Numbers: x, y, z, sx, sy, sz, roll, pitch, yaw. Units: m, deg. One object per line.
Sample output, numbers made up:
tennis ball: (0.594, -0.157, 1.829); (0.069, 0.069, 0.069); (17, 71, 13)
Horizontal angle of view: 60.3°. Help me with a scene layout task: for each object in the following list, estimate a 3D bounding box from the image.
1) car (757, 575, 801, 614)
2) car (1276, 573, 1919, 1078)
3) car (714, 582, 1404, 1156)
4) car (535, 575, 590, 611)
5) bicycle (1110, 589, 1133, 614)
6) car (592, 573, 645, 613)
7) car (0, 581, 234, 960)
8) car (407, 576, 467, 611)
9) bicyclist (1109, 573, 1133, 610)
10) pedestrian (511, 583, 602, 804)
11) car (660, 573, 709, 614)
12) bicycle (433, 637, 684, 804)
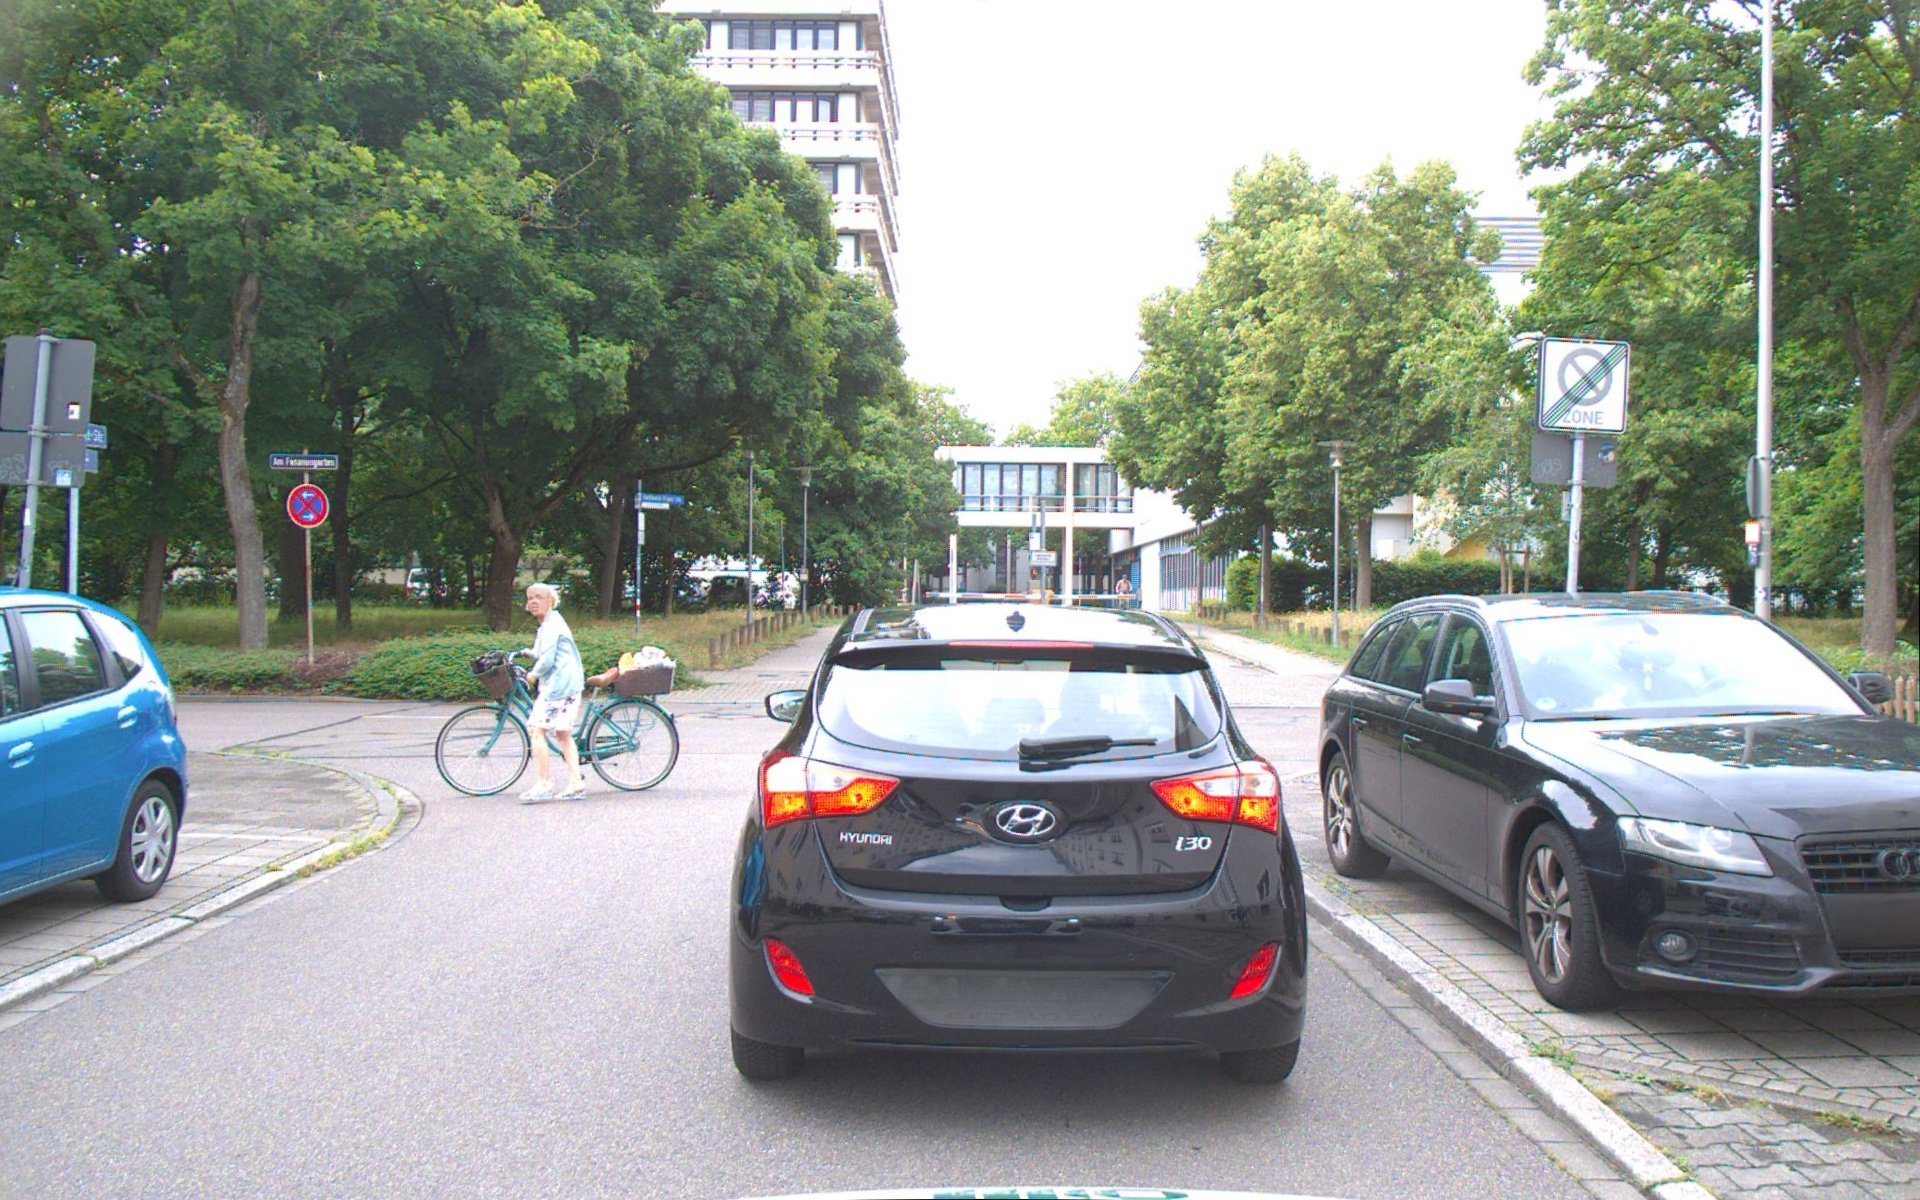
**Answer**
car: (-8.610, -0.228, 78.958); (1.954, 1.792, 3.996); (0, -1, -5)
car: (2.868, 0.643, 7.313); (1.823, 1.488, 4.723); (-1, 0, -3)
car: (0.175, 0.707, 6.259); (1.809, 1.488, 3.825); (1, 0, -3)
car: (-18.817, -0.344, 78.480); (1.954, 1.646, 3.996); (0, 0, -5)
bicycle: (7.348, 0.077, 75.272); (0.849, 1.093, 2.142); (0, 1, 0)
car: (-16.150, -0.316, 78.452); (1.954, 1.758, 3.996); (0, -1, -5)
car: (-4.711, 0.676, 6.832); (1.695, 1.488, 3.956); (3, 0, -1)
car: (-24.903, -0.313, 78.914); (1.880, 1.646, 3.996); (0, 0, -5)
bicyclist: (7.323, -0.377, 75.342); (0.996, 1.673, 0.923); (0, 1, 0)
pedestrian: (-2.970, 0.675, 12.204); (0.555, 1.576, 0.447); (-2, 1, -8)
car: (-13.111, -0.280, 78.827); (1.954, 1.825, 3.996); (0, -1, -5)
bicycle: (-3.020, 0.896, 12.565); (1.779, 1.139, 0.537); (-2, 1, -10)
